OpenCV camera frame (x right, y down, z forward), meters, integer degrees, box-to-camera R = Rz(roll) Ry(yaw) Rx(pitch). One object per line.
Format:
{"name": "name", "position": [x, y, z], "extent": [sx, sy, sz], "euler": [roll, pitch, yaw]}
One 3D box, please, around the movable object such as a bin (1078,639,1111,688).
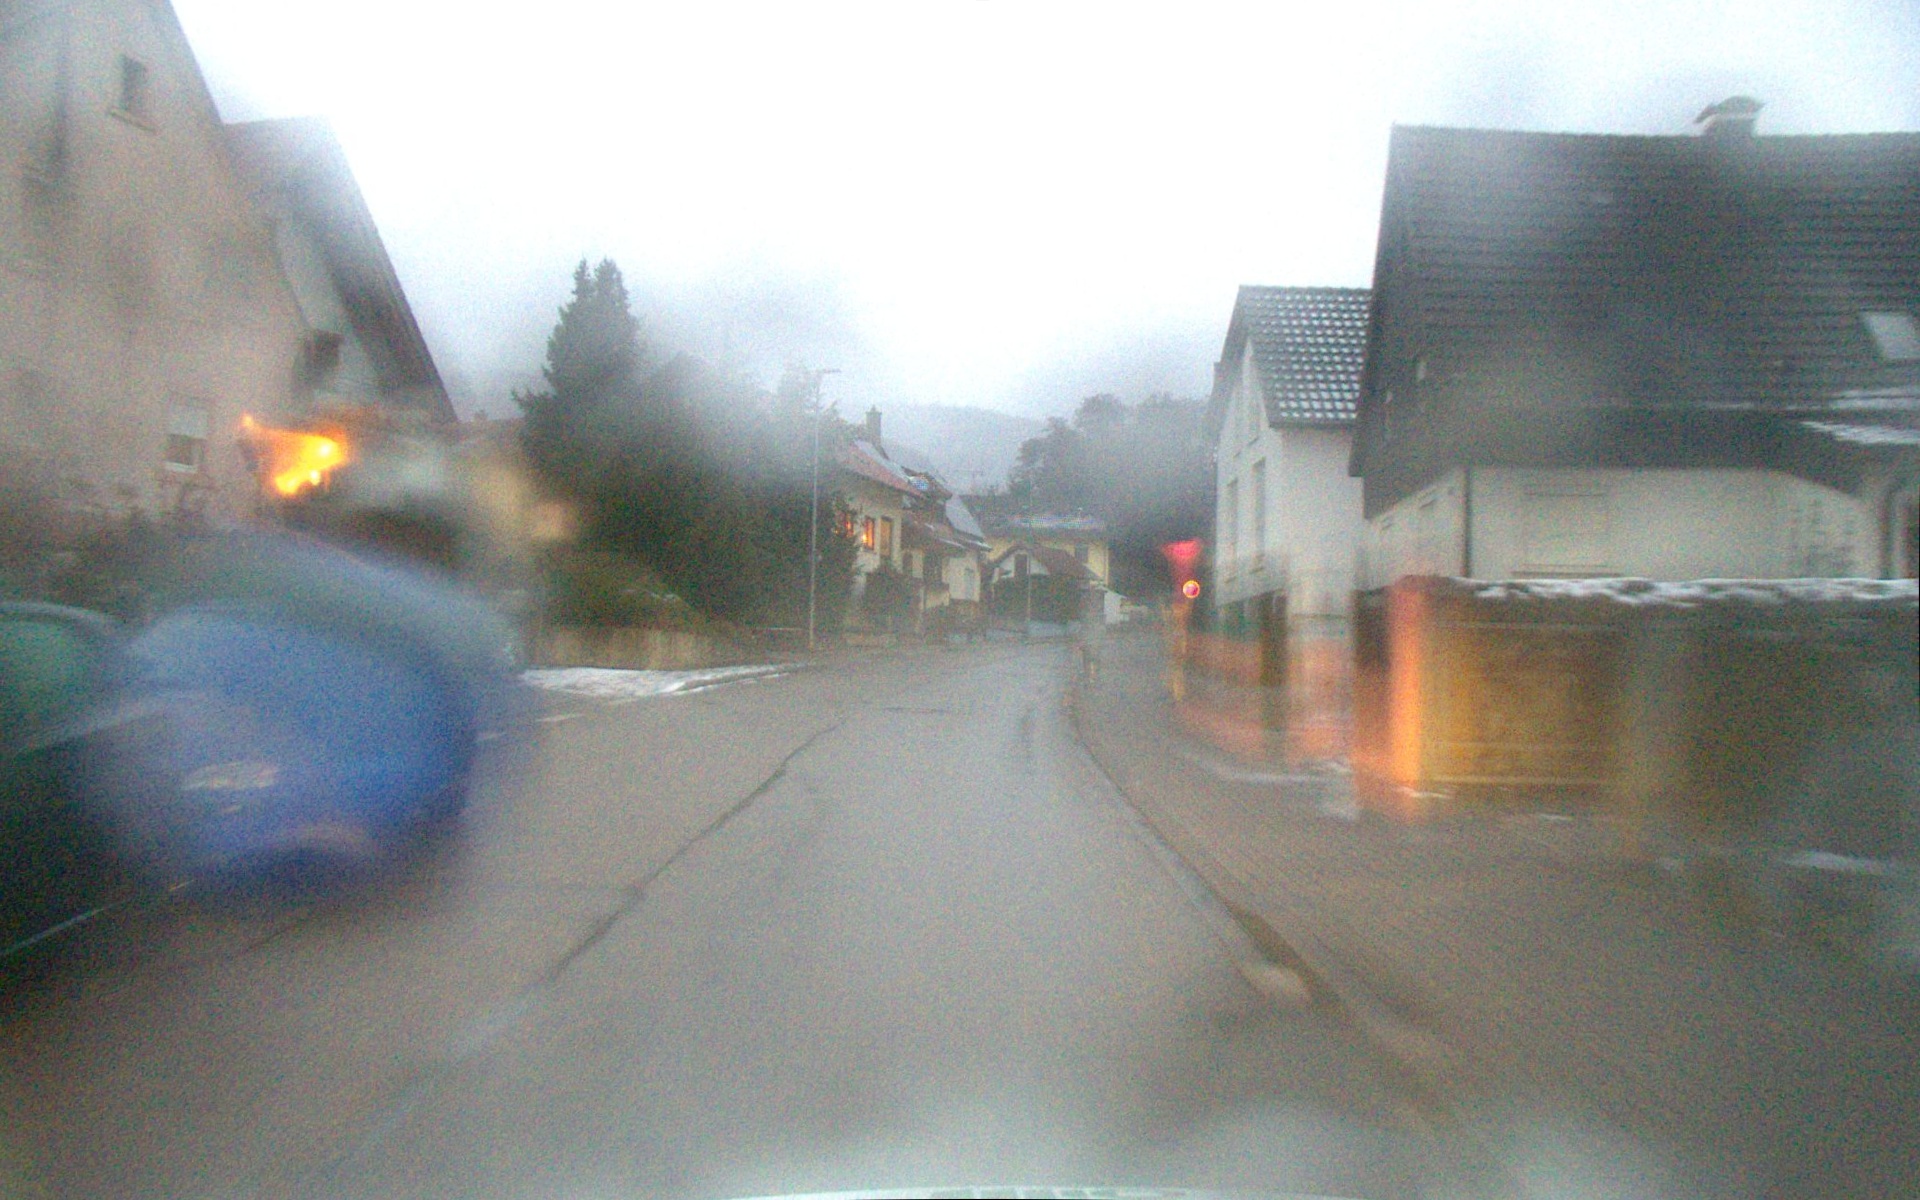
{"name": "movable object such as a bin", "position": [2.732, 1.296, 33.571], "extent": [0.601, 0.963, 0.595], "euler": [-3, -2, 6]}

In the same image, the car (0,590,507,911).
{"name": "car", "position": [-3.922, 0.679, 9.527], "extent": [1.634, 1.434, 3.913], "euler": [1, 0, -2]}

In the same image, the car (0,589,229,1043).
{"name": "car", "position": [-3.889, 0.676, 5.076], "extent": [1.631, 1.442, 3.690], "euler": [2, 0, -1]}
